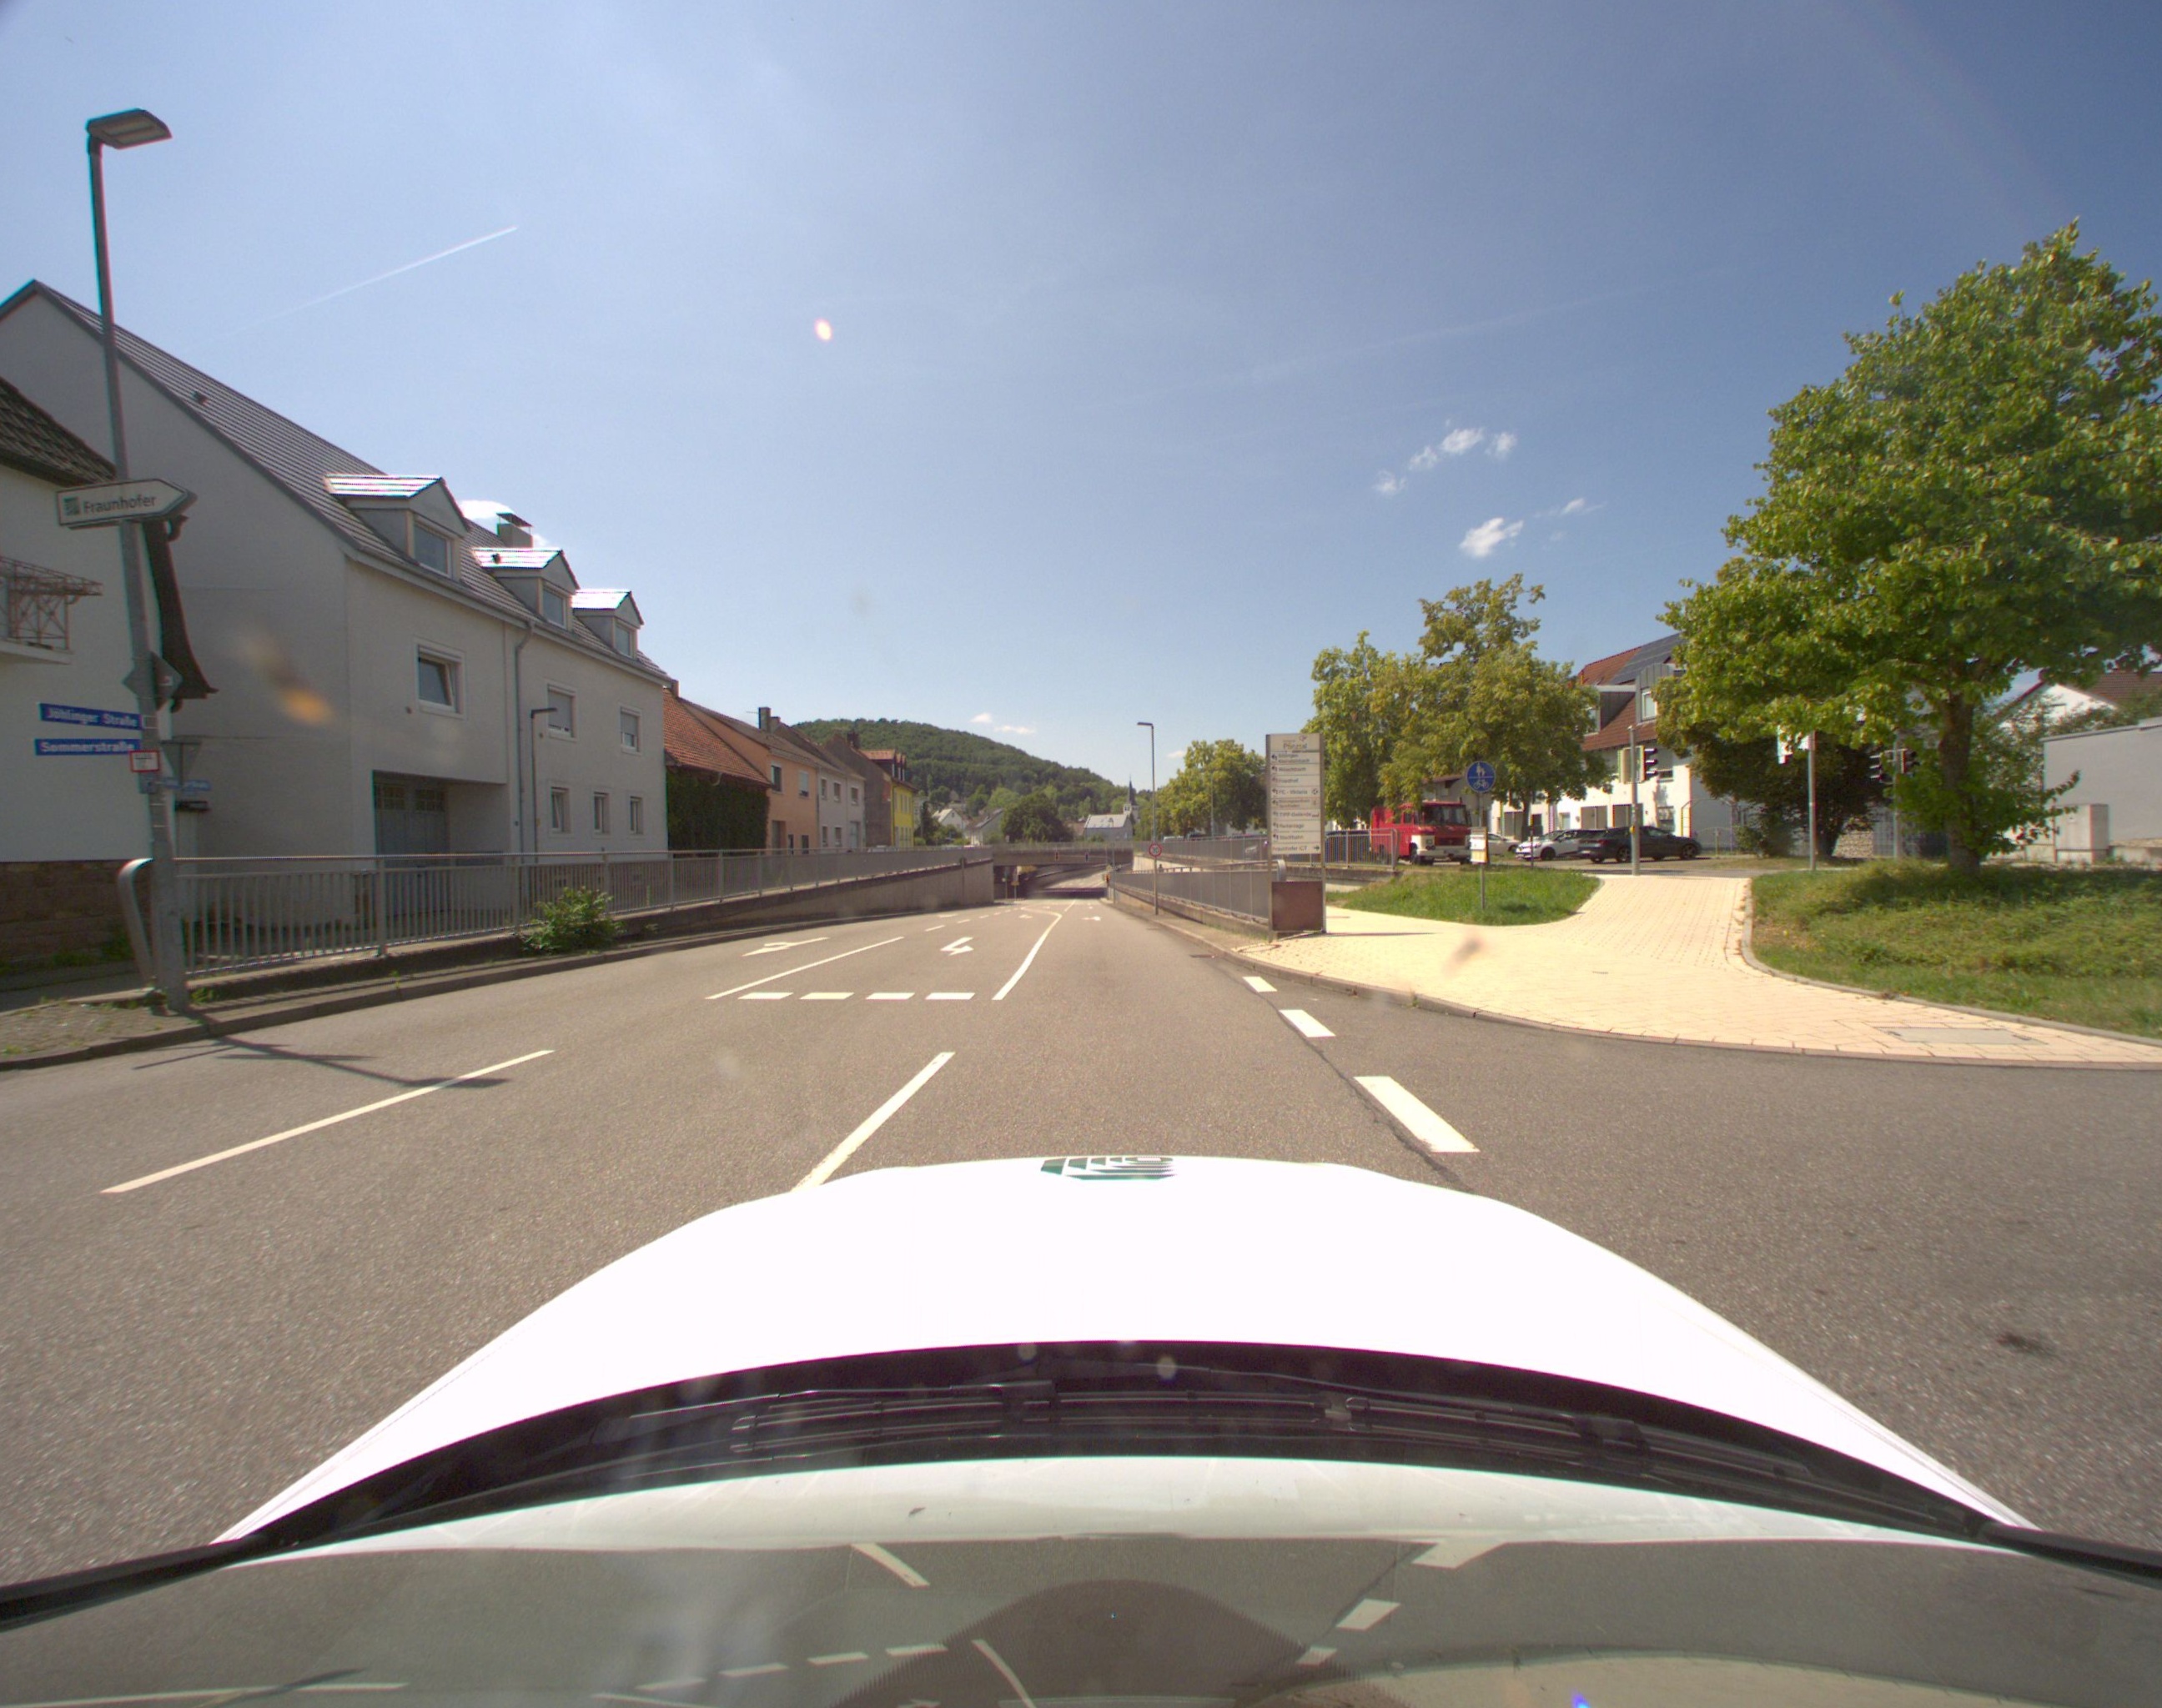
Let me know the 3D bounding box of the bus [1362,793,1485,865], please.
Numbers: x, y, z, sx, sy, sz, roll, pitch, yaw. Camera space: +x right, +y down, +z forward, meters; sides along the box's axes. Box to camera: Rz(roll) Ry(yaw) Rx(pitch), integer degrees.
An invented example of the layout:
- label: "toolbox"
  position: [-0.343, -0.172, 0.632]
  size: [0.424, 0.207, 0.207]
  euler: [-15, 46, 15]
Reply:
- label: "bus"
  position: [12.521, -0.885, 30.273]
  size: [2.182, 2.366, 5.361]
  euler: [-2, 1, -1]

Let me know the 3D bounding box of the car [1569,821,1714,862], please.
- label: "car"
  position: [22.478, -0.499, 32.767]
  size: [4.470, 1.479, 2.000]
  euler: [-2, 1, 0]

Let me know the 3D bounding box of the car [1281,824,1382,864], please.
- label: "car"
  position: [11.268, -0.415, 36.721]
  size: [3.986, 1.630, 1.857]
  euler: [1, -3, -10]

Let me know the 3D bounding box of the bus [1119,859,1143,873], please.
- label: "bus"
  position: [12.217, 2.886, 197.204]
  size: [2.559, 3.173, 12.437]
  euler: [-1, -1, 20]

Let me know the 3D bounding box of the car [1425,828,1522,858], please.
- label: "car"
  position: [21.959, -0.622, 45.677]
  size: [4.470, 1.479, 2.000]
  euler: [-2, 1, 0]

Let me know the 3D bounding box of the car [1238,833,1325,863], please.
- label: "car"
  position: [10.069, -0.290, 41.093]
  size: [3.971, 1.428, 1.725]
  euler: [0, 0, 2]

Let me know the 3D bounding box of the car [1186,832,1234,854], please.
- label: "car"
  position: [11.197, -0.972, 70.815]
  size: [3.970, 1.770, 1.770]
  euler: [0, -3, 3]

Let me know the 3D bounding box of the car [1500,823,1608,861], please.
- label: "car"
  position: [22.048, -0.548, 38.082]
  size: [3.976, 1.630, 1.862]
  euler: [1, -3, -2]

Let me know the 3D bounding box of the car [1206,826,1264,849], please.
- label: "car"
  position: [11.149, -1.182, 59.059]
  size: [3.970, 1.486, 1.770]
  euler: [0, -3, 3]

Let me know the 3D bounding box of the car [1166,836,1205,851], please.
- label: "car"
  position: [11.054, -1.149, 86.205]
  size: [3.970, 1.486, 1.770]
  euler: [0, -3, 3]

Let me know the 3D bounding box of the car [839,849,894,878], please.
- label: "car"
  position: [-10.977, 0.480, 41.995]
  size: [1.781, 1.405, 4.389]
  euler: [0, 0, -2]
